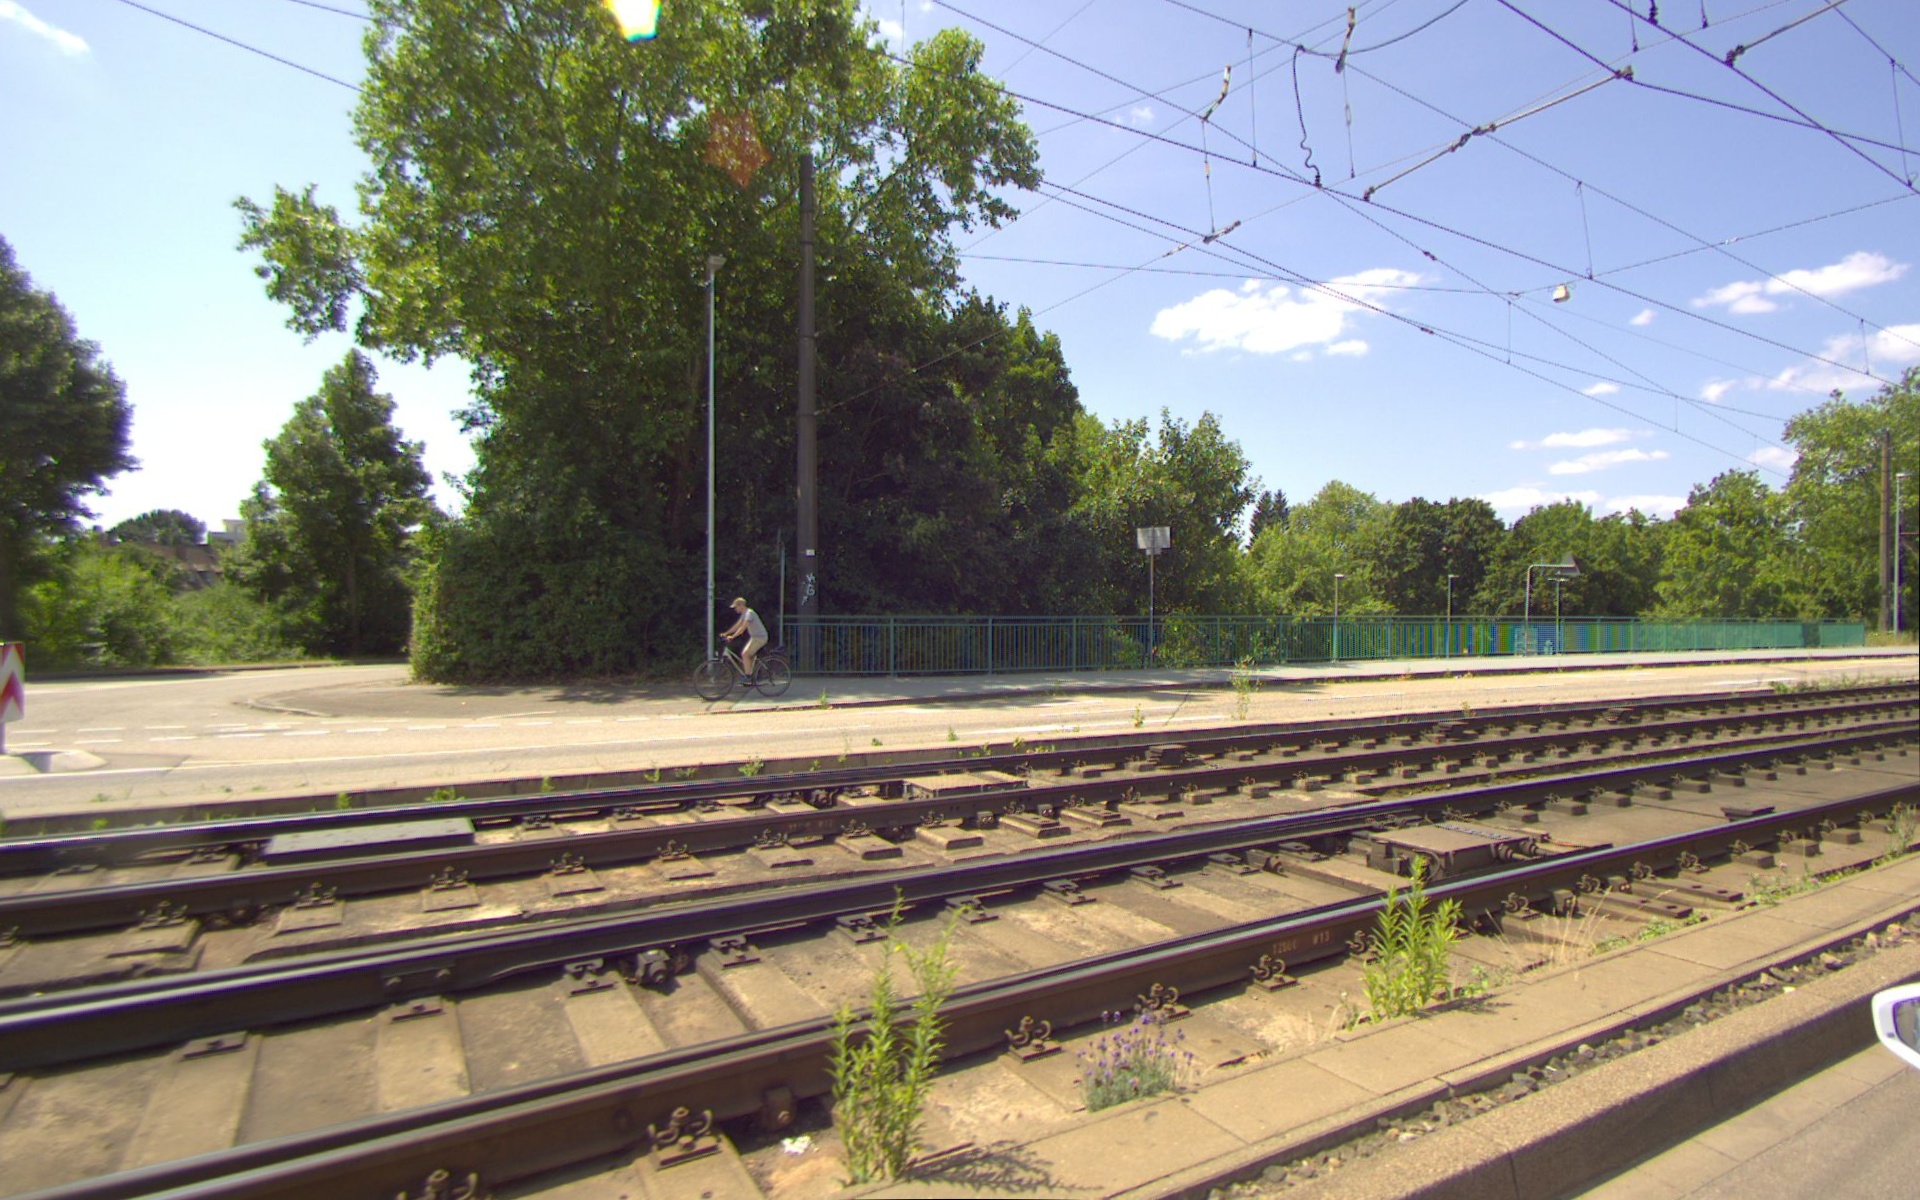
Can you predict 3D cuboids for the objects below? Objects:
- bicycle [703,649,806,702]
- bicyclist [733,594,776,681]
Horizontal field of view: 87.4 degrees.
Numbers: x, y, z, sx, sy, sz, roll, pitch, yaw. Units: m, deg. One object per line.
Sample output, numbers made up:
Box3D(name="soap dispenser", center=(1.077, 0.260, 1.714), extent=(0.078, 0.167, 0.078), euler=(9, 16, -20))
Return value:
Box3D(name="bicycle", center=(-3.629, 1.320, 17.755), extent=(1.721, 0.880, 0.467), euler=(1, 0, -28))
Box3D(name="bicyclist", center=(-3.627, 0.653, 17.750), extent=(0.625, 1.493, 0.454), euler=(1, 0, -28))
